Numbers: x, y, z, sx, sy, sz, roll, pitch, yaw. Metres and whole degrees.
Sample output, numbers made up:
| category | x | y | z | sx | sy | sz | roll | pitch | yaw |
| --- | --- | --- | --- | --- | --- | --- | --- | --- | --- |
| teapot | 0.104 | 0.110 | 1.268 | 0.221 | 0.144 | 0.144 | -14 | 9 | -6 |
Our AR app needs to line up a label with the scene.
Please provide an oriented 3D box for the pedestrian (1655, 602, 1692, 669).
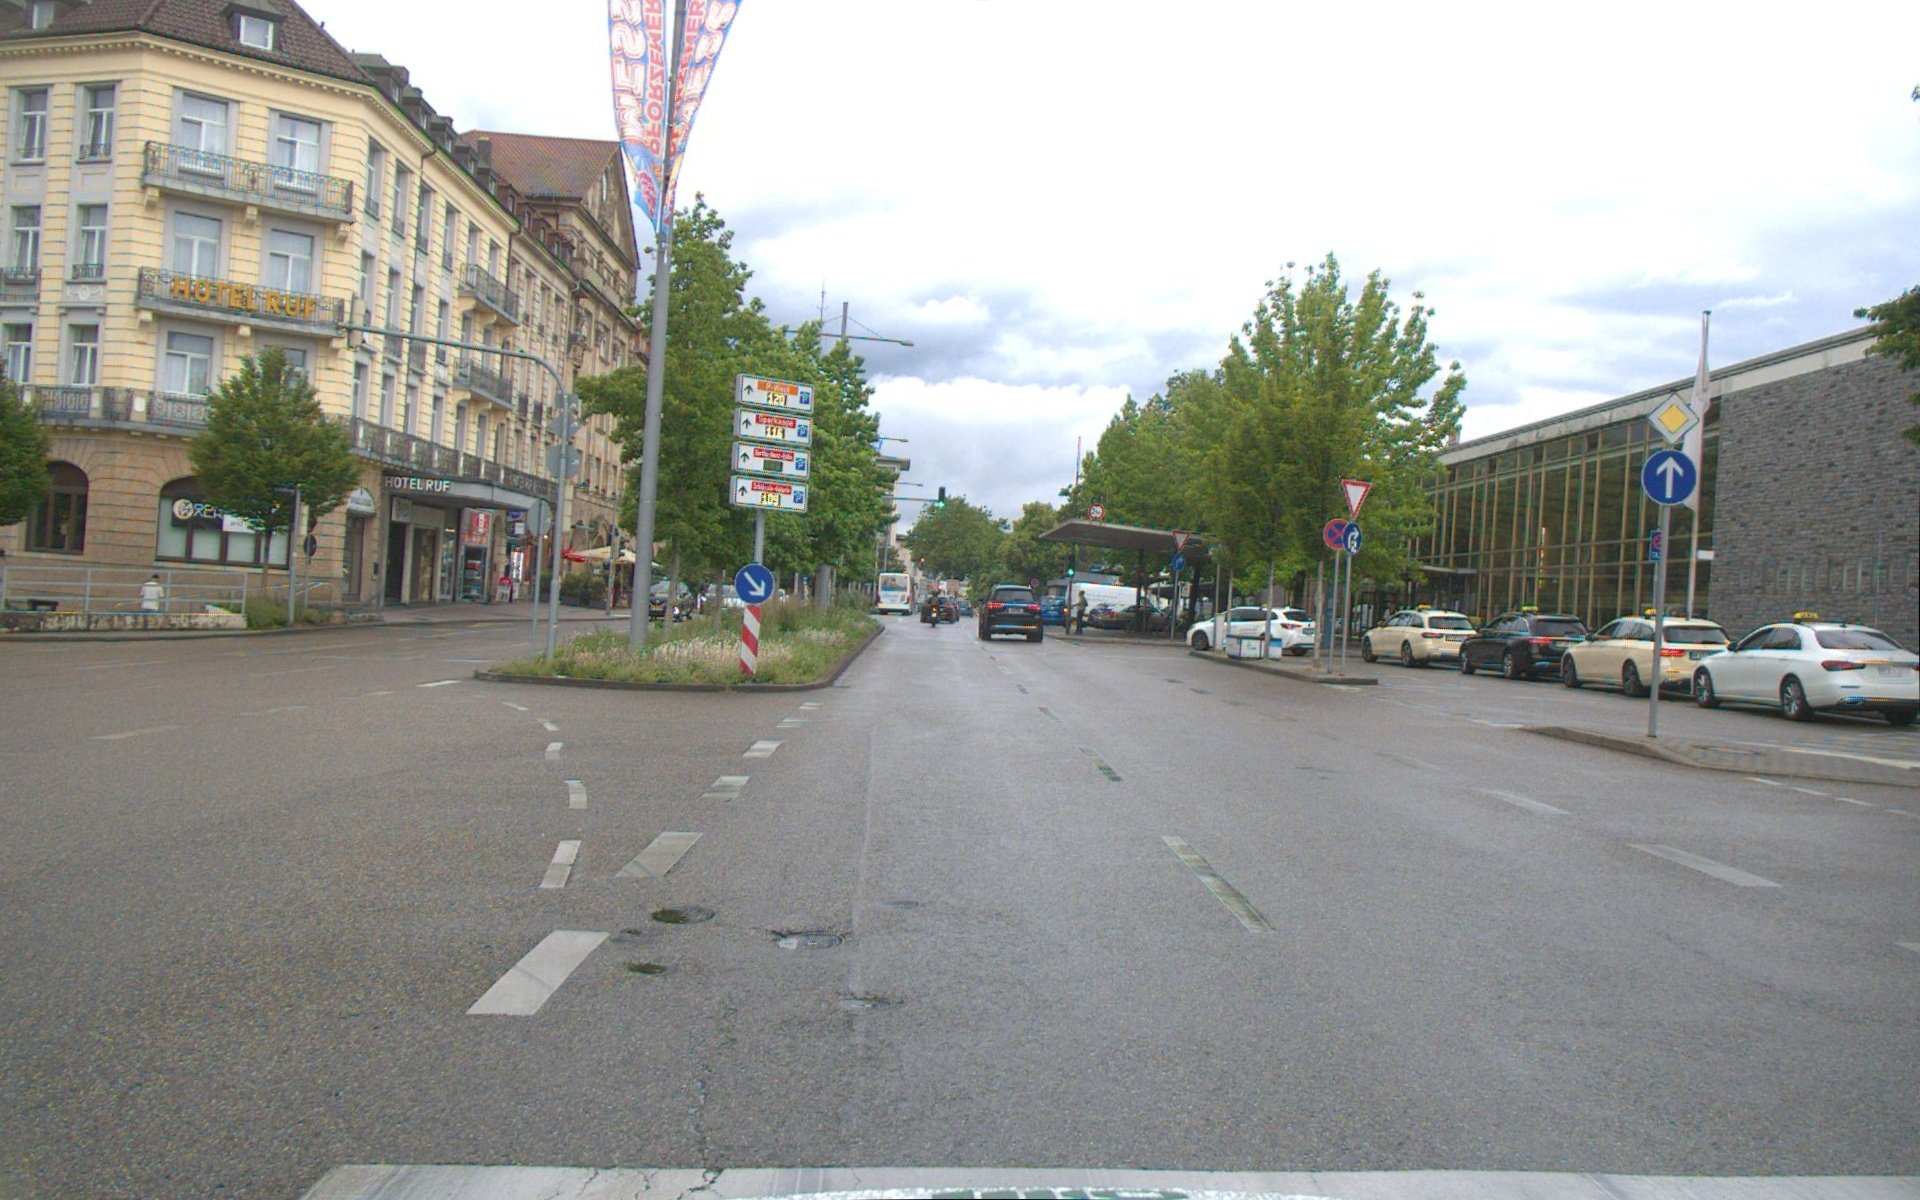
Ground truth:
| category | x | y | z | sx | sy | sz | roll | pitch | yaw |
| --- | --- | --- | --- | --- | --- | --- | --- | --- | --- |
| pedestrian | 18.172 | 0.889 | 42.140 | 0.553 | 1.675 | 0.715 | 1 | 0 | -6 |

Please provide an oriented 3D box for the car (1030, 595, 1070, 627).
| category | x | y | z | sx | sy | sz | roll | pitch | yaw |
| --- | --- | --- | --- | --- | --- | --- | --- | --- | --- |
| car | 4.620 | 0.544 | 85.470 | 1.779 | 1.557 | 3.999 | 1 | 0 | -1 |

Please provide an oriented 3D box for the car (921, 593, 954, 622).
| category | x | y | z | sx | sy | sz | roll | pitch | yaw |
| --- | --- | --- | --- | --- | --- | --- | --- | --- | --- |
| car | -1.211 | 0.394 | 87.563 | 1.673 | 1.473 | 3.999 | 1 | 0 | -1 |

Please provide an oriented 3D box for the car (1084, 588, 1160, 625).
| category | x | y | z | sx | sy | sz | roll | pitch | yaw |
| --- | --- | --- | --- | --- | --- | --- | --- | --- | --- |
| car | 9.475 | 0.391 | 96.797 | 3.929 | 2.049 | 1.988 | 1 | 0 | -21 |

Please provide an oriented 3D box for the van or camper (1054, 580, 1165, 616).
| category | x | y | z | sx | sy | sz | roll | pitch | yaw |
| --- | --- | --- | --- | --- | --- | --- | --- | --- | --- |
| van or camper | 9.326 | -0.088 | 102.945 | 6.675 | 2.049 | 2.364 | 1 | -1 | -27 |

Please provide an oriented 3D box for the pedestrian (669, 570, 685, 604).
| category | x | y | z | sx | sy | sz | roll | pitch | yaw |
| --- | --- | --- | --- | --- | --- | --- | --- | --- | --- |
| pedestrian | -14.515 | -0.672 | 84.812 | 0.661 | 1.731 | 0.633 | 2 | -1 | -1 |

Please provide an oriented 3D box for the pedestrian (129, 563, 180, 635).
| category | x | y | z | sx | sy | sz | roll | pitch | yaw |
| --- | --- | --- | --- | --- | --- | --- | --- | --- | --- |
| pedestrian | -21.950 | -0.026 | 45.072 | 0.845 | 1.911 | 1.022 | 2 | 0 | -1 |

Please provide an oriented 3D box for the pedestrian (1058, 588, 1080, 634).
| category | x | y | z | sx | sy | sz | roll | pitch | yaw |
| --- | --- | --- | --- | --- | --- | --- | --- | --- | --- |
| pedestrian | 4.390 | 0.445 | 66.632 | 0.705 | 1.822 | 0.663 | 2 | 0 | -12 |

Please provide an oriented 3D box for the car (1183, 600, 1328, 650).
| category | x | y | z | sx | sy | sz | roll | pitch | yaw |
| --- | --- | --- | --- | --- | --- | --- | --- | --- | --- |
| car | 9.107 | 0.741 | 51.214 | 1.764 | 1.409 | 4.303 | 1 | 0 | -41 |

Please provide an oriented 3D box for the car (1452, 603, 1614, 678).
| category | x | y | z | sx | sy | sz | roll | pitch | yaw |
| --- | --- | --- | --- | --- | --- | --- | --- | --- | --- |
| car | 13.052 | 0.885 | 38.011 | 1.875 | 1.551 | 4.740 | 1 | 0 | -3 |

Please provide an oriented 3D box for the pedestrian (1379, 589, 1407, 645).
| category | x | y | z | sx | sy | sz | roll | pitch | yaw |
| --- | --- | --- | --- | --- | --- | --- | --- | --- | --- |
| pedestrian | 16.063 | 0.609 | 61.409 | 0.754 | 2.049 | 0.828 | 1 | 0 | -3 |

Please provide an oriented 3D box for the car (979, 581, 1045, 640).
| category | x | y | z | sx | sy | sz | roll | pitch | yaw |
| --- | --- | --- | --- | --- | --- | --- | --- | --- | --- |
| car | 1.682 | 0.326 | 55.408 | 1.953 | 1.837 | 4.689 | 1 | 0 | -1 |

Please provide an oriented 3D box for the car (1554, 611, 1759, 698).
| category | x | y | z | sx | sy | sz | roll | pitch | yaw |
| --- | --- | --- | --- | --- | --- | --- | --- | --- | --- |
| car | 13.243 | 0.990 | 31.790 | 1.809 | 1.477 | 4.664 | 1 | 0 | -2 |

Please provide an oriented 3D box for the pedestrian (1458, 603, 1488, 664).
| category | x | y | z | sx | sy | sz | roll | pitch | yaw |
| --- | --- | --- | --- | --- | --- | --- | --- | --- | --- |
| pedestrian | 14.810 | 0.959 | 47.776 | 0.553 | 1.739 | 0.715 | 2 | 0 | -6 |

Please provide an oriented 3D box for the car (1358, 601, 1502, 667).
| category | x | y | z | sx | sy | sz | roll | pitch | yaw |
| --- | --- | --- | --- | --- | --- | --- | --- | --- | --- |
| car | 12.550 | 0.874 | 44.488 | 1.956 | 1.628 | 4.814 | 1 | 0 | -8 |

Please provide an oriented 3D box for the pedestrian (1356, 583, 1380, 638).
| category | x | y | z | sx | sy | sz | roll | pitch | yaw |
| --- | --- | --- | --- | --- | --- | --- | --- | --- | --- |
| pedestrian | 18.231 | 0.463 | 73.932 | 0.825 | 2.453 | 0.862 | 1 | 0 | 1 |

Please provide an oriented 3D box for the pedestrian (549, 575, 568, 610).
| category | x | y | z | sx | sy | sz | roll | pitch | yaw |
| --- | --- | --- | --- | --- | --- | --- | --- | --- | --- |
| pedestrian | -18.060 | -0.347 | 74.445 | 0.656 | 1.537 | 0.512 | 1 | 0 | -39 |

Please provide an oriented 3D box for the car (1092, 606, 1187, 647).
| category | x | y | z | sx | sy | sz | roll | pitch | yaw |
| --- | --- | --- | --- | --- | --- | --- | --- | --- | --- |
| car | 8.942 | 1.304 | 82.406 | 4.273 | 1.890 | 1.988 | 2 | 0 | -21 |

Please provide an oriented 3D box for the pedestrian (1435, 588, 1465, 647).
| category | x | y | z | sx | sy | sz | roll | pitch | yaw |
| --- | --- | --- | --- | --- | --- | --- | --- | --- | --- |
| pedestrian | 17.134 | 0.605 | 57.860 | 0.754 | 2.049 | 0.828 | 1 | 0 | -3 |

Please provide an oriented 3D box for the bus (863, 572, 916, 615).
| category | x | y | z | sx | sy | sz | roll | pitch | yaw |
| --- | --- | --- | --- | --- | --- | --- | --- | --- | --- |
| bus | -5.926 | -0.501 | 136.234 | 3.687 | 3.265 | 15.510 | 1 | 0 | -5 |

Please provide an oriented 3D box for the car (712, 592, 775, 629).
| category | x | y | z | sx | sy | sz | roll | pitch | yaw |
| --- | --- | --- | --- | --- | --- | --- | --- | --- | --- |
| car | -8.745 | 0.408 | 67.193 | 1.688 | 1.406 | 4.861 | 1 | 0 | 2 |

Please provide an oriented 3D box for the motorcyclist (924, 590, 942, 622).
| category | x | y | z | sx | sy | sz | roll | pitch | yaw |
| --- | --- | --- | --- | --- | --- | --- | --- | --- | --- |
| motorcyclist | -1.166 | 0.245 | 71.722 | 0.749 | 1.355 | 0.866 | 2 | 0 | -1 |

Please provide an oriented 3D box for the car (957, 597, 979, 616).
| category | x | y | z | sx | sy | sz | roll | pitch | yaw |
| --- | --- | --- | --- | --- | --- | --- | --- | --- | --- |
| car | 0.639 | 0.563 | 137.157 | 1.673 | 1.500 | 3.999 | 1 | 0 | -1 |

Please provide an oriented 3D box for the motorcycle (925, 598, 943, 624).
| category | x | y | z | sx | sy | sz | roll | pitch | yaw |
| --- | --- | --- | --- | --- | --- | --- | --- | --- | --- |
| motorcycle | -1.135 | 0.480 | 71.676 | 0.750 | 1.095 | 2.175 | 2 | 0 | -1 |

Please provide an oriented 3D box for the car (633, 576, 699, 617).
| category | x | y | z | sx | sy | sz | roll | pitch | yaw |
| --- | --- | --- | --- | --- | --- | --- | --- | --- | --- |
| car | -11.693 | -0.131 | 65.972 | 1.734 | 1.557 | 4.079 | 1 | 0 | 2 |

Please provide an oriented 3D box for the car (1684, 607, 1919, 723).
| category | x | y | z | sx | sy | sz | roll | pitch | yaw |
| --- | --- | --- | --- | --- | --- | --- | --- | --- | --- |
| car | 13.373 | 0.947 | 26.074 | 1.739 | 1.617 | 4.614 | 1 | 0 | -2 |
